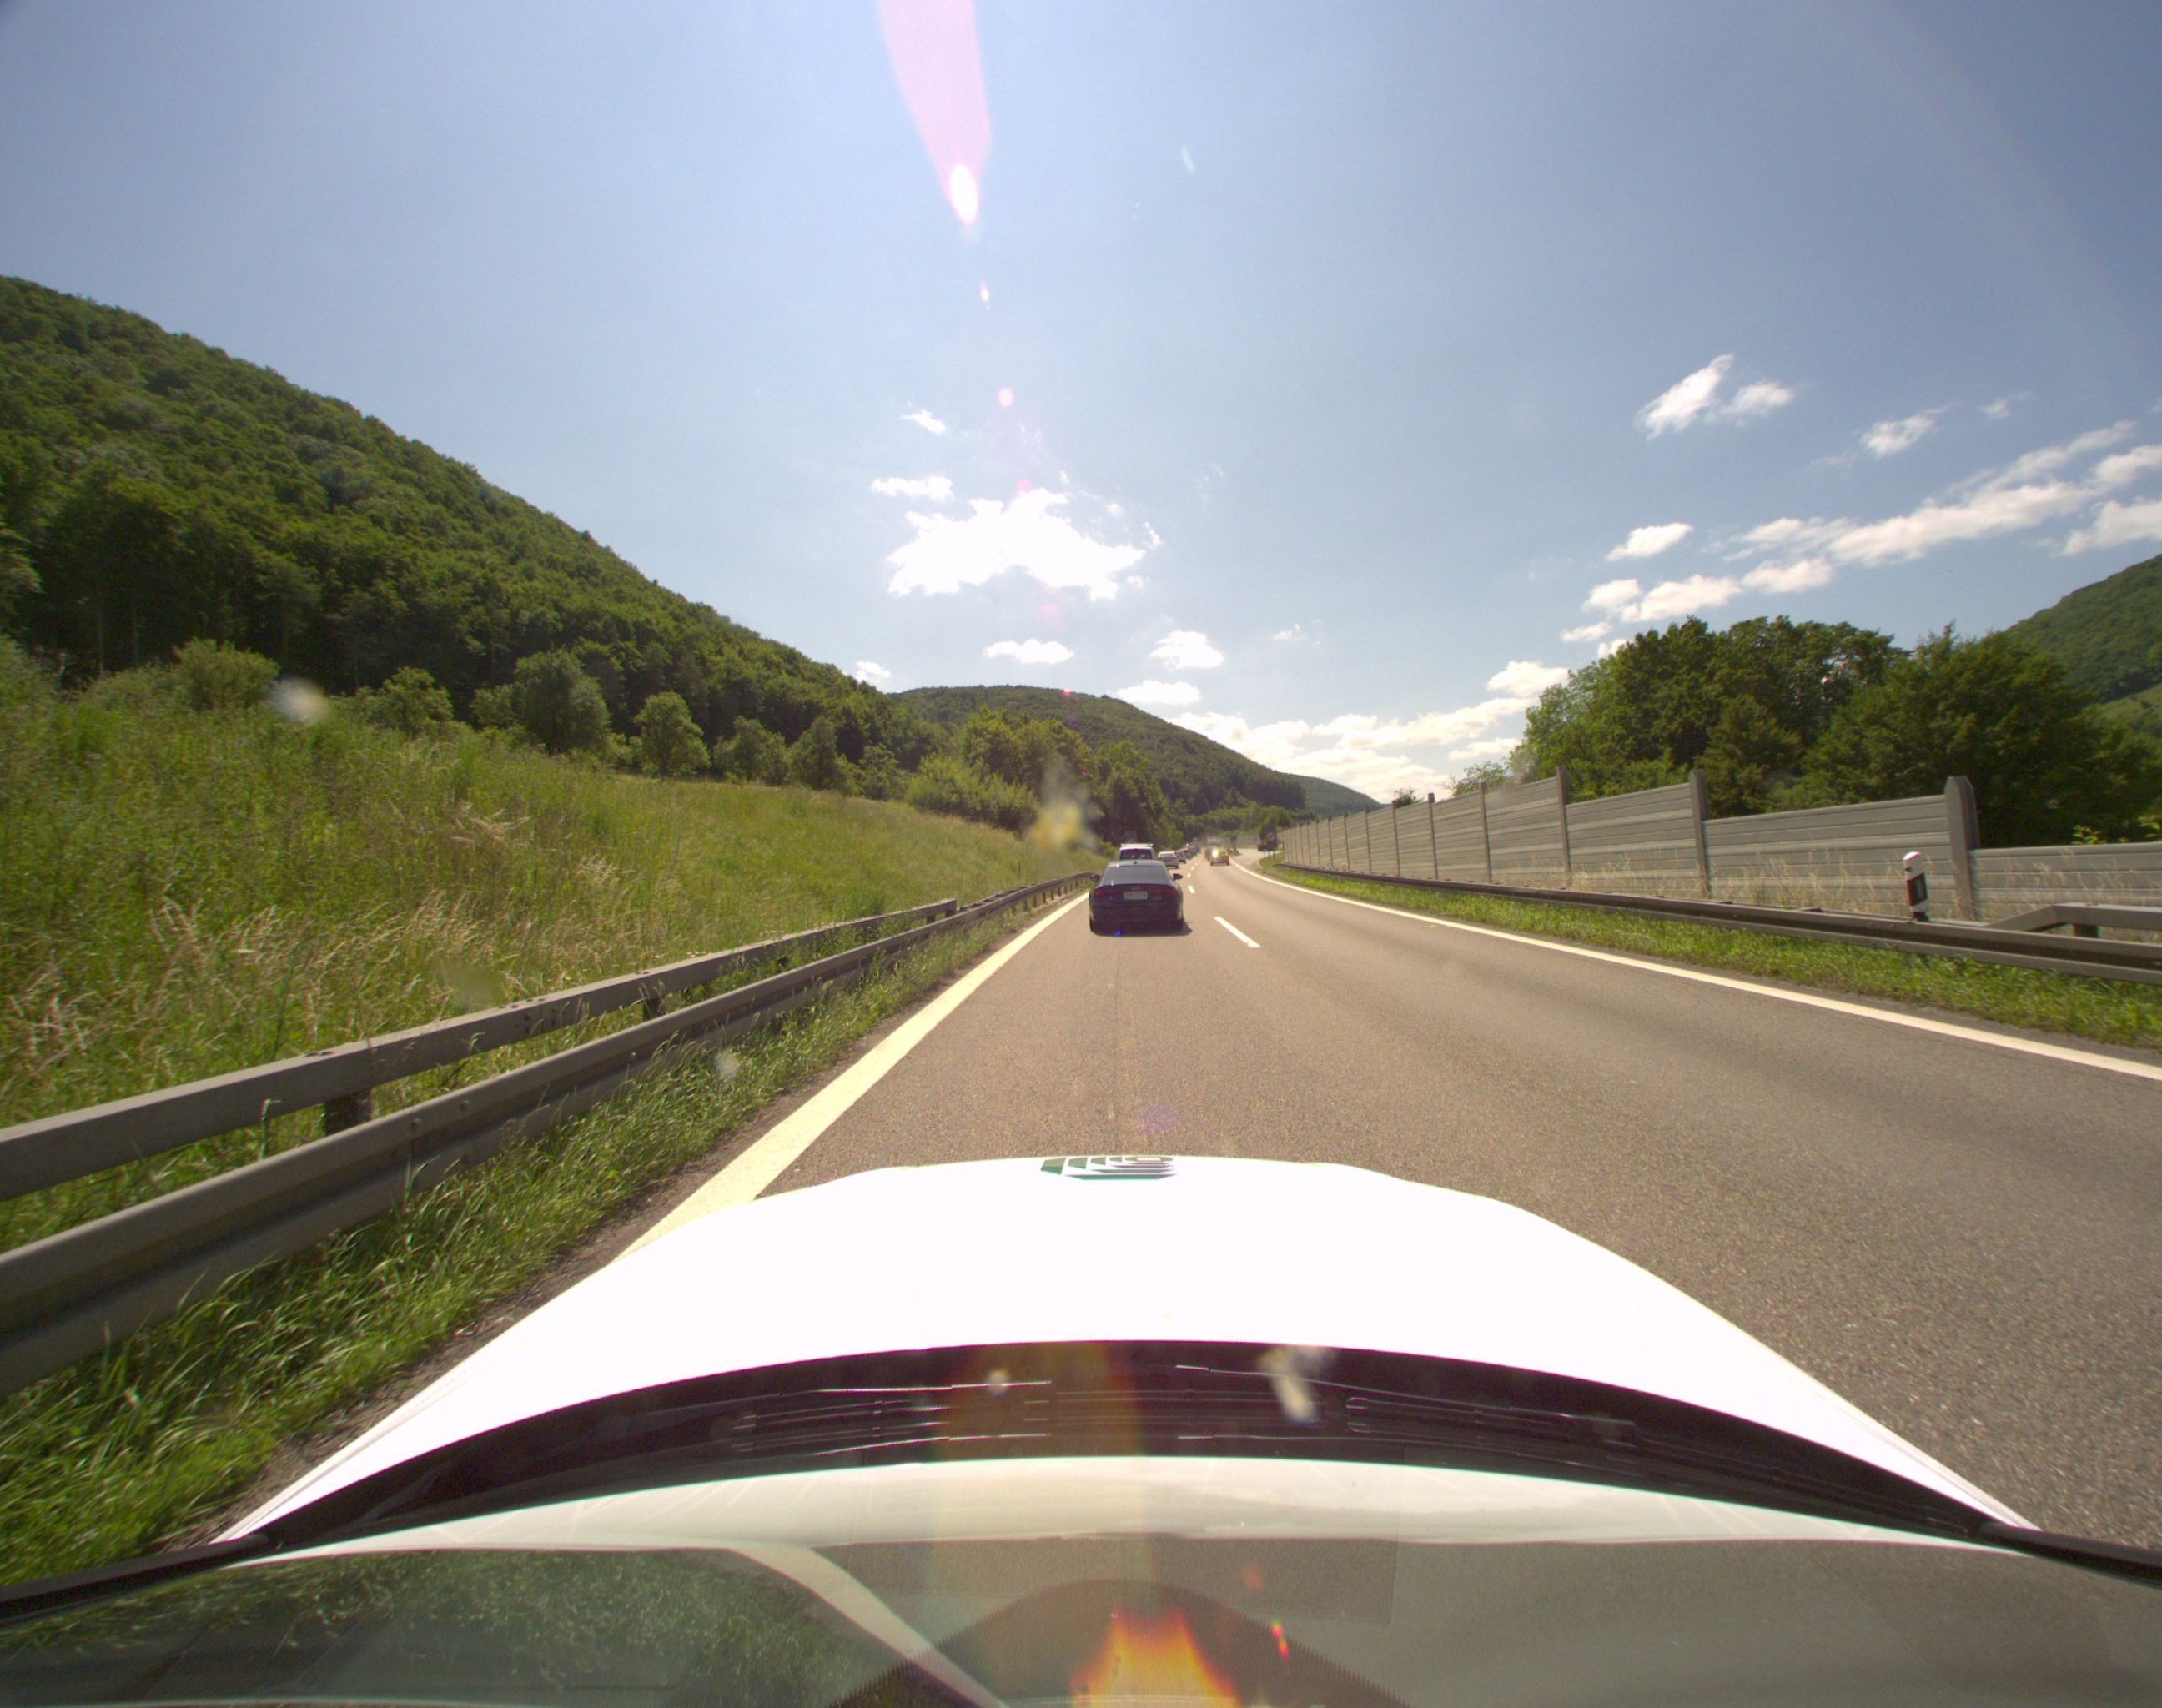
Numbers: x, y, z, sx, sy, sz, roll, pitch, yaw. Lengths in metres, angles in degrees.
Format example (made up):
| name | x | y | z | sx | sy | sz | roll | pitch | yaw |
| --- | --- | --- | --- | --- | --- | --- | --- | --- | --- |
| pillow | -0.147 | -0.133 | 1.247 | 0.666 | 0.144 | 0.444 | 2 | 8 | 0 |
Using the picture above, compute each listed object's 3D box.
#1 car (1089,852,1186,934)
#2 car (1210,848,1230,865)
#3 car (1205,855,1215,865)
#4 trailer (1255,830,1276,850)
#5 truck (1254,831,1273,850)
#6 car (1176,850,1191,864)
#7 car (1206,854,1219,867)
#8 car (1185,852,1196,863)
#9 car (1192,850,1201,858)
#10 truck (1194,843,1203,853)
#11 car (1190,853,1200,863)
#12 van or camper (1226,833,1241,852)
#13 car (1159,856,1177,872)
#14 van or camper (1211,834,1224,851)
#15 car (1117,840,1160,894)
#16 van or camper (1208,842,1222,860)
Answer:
| name | x | y | z | sx | sy | sz | roll | pitch | yaw |
| --- | --- | --- | --- | --- | --- | --- | --- | --- | --- |
| car | 1.127 | 0.736 | 17.180 | 1.805 | 1.514 | 3.516 | -1 | 0 | 2 |
| car | 13.347 | 0.240 | 78.304 | 1.867 | 1.499 | 4.011 | -2 | 0 | 9 |
| car | 19.590 | 0.916 | 123.788 | 1.521 | 1.525 | 3.606 | 0 | -1 | 9 |
| trailer | 37.732 | -2.848 | 167.146 | 3.392 | 3.900 | 11.179 | -2 | 0 | 9 |
| truck | 38.581 | -2.845 | 172.449 | 3.392 | 3.900 | 5.401 | -2 | 0 | 9 |
| car | 11.612 | 0.329 | 91.869 | 1.512 | 1.553 | 3.524 | 0 | 0 | 10 |
| car | 16.561 | 0.815 | 102.579 | 1.521 | 1.525 | 3.606 | 0 | -1 | 9 |
| car | 16.518 | 0.547 | 122.655 | 1.511 | 1.553 | 3.525 | 0 | 0 | 11 |
| car | 22.526 | 0.035 | 159.230 | 1.511 | 1.553 | 3.525 | 0 | 0 | 11 |
| truck | 29.113 | -1.437 | 201.599 | 2.051 | 2.605 | 5.631 | 0 | 0 | 11 |
| car | 19.518 | 0.660 | 139.465 | 1.511 | 1.553 | 3.525 | 0 | 0 | 12 |
| van or camper | 33.271 | -2.501 | 177.431 | 2.779 | 3.841 | 6.179 | 0 | -1 | 7 |
| car | 7.519 | 0.844 | 69.981 | 1.513 | 1.294 | 3.521 | 0 | 0 | 7 |
| van or camper | 32.840 | -2.744 | 196.572 | 2.779 | 3.907 | 6.179 | 0 | -1 | 7 |
| car | 2.287 | 0.473 | 31.704 | 1.513 | 1.968 | 3.521 | 0 | 0 | 7 |
| van or camper | 24.889 | -0.515 | 151.178 | 2.415 | 3.155 | 5.217 | 0 | -1 | 9 |
